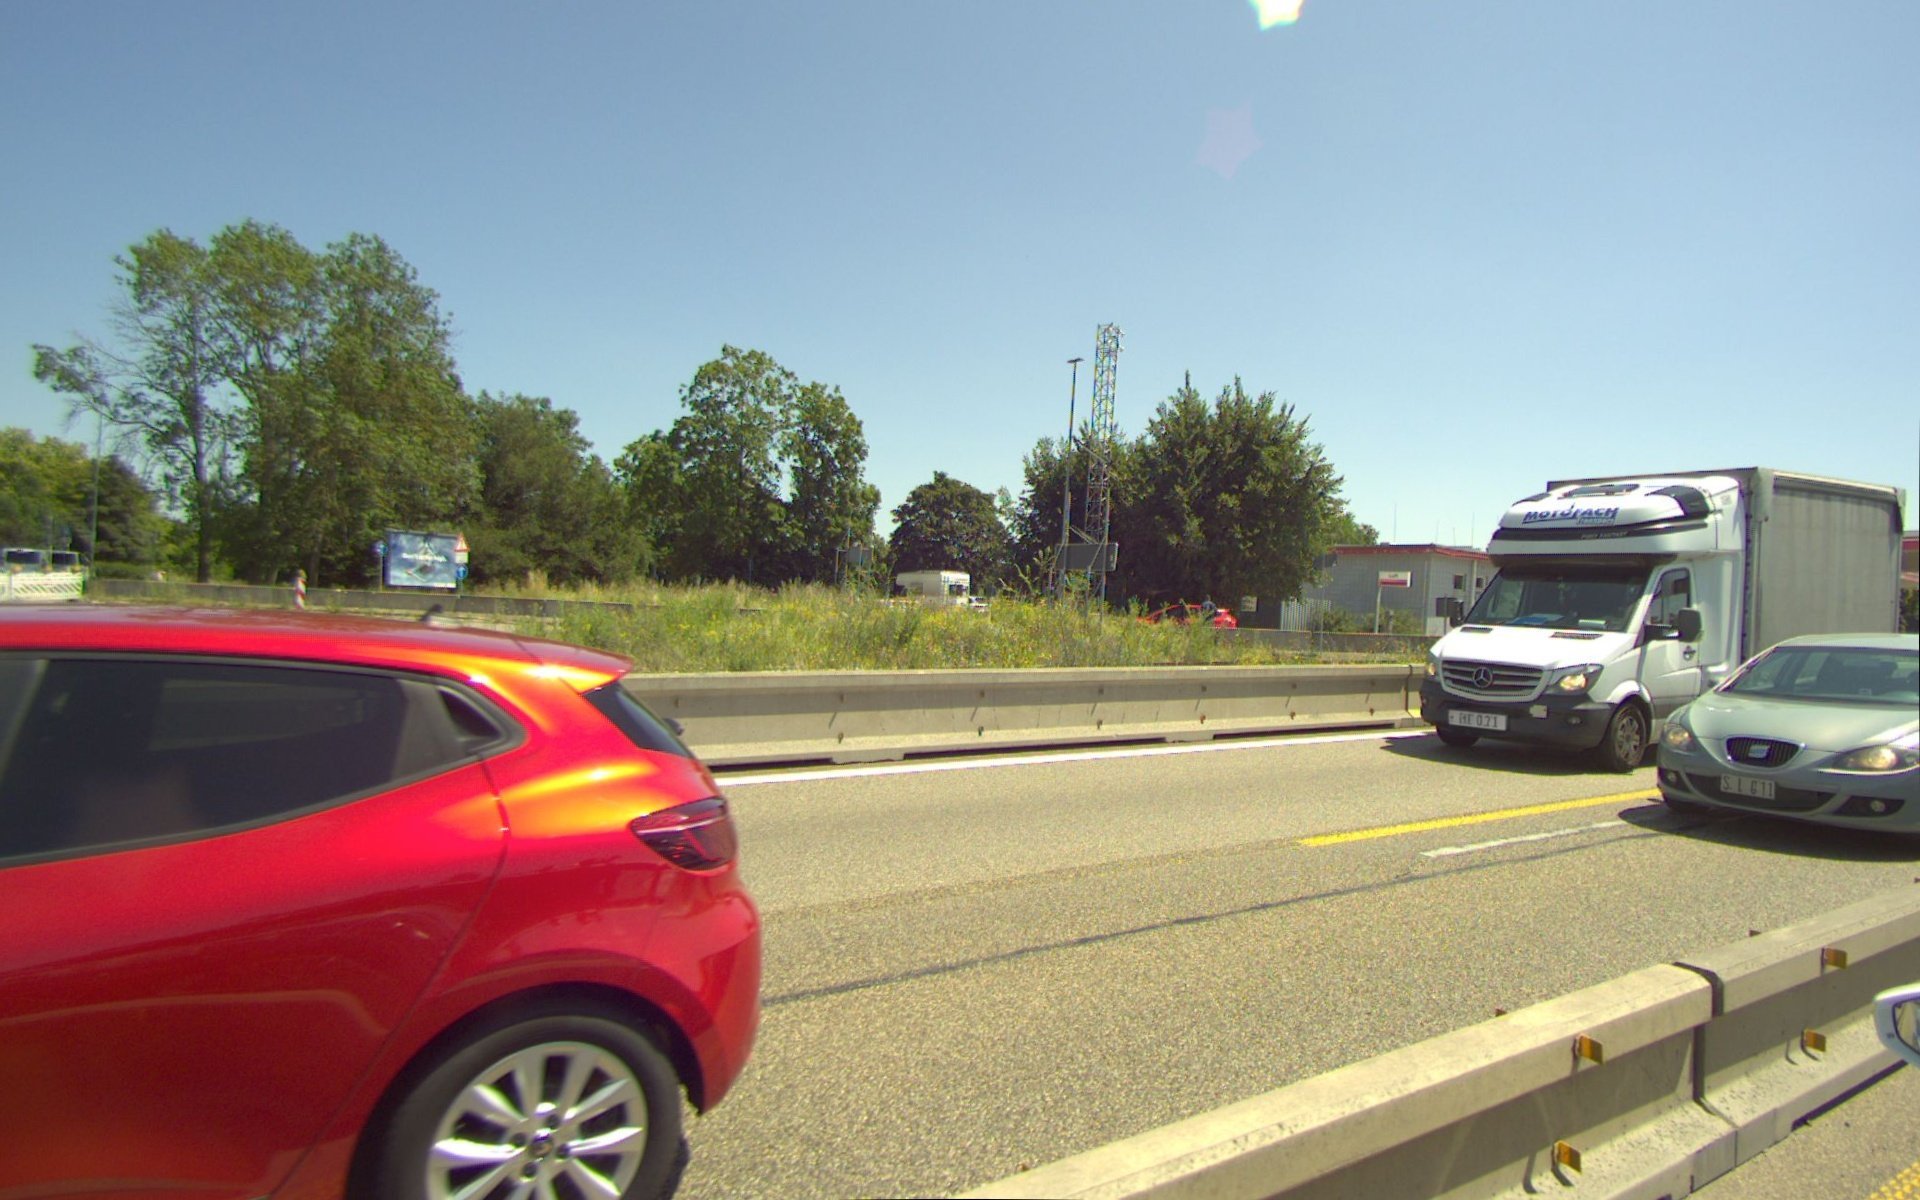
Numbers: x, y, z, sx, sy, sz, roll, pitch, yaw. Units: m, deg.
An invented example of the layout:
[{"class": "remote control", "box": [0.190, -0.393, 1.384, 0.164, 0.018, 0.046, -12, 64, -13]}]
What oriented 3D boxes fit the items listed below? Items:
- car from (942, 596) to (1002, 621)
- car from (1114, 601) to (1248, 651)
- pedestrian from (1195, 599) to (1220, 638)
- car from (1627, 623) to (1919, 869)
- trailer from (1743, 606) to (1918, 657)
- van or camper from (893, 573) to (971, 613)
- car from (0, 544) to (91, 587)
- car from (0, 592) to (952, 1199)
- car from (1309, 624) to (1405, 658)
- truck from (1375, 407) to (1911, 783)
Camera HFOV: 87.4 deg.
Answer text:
[{"class": "car", "box": [0.768, 0.524, 65.727, 1.980, 1.483, 3.960, 1, 1, -35]}, {"class": "car", "box": [7.361, 0.844, 33.649, 4.104, 1.350, 1.503, 3, 3, -1]}, {"class": "pedestrian", "box": [7.947, 0.592, 32.271, 0.576, 1.221, 0.474, 1, 0, -16]}, {"class": "car", "box": [7.177, 0.943, 7.861, 4.154, 1.448, 1.673, 1, 0, -31]}, {"class": "trailer", "box": [80.191, 2.906, 92.648, 13.892, 4.165, 3.159, 2, -1, -4]}, {"class": "van or camper", "box": [-1.824, -0.439, 63.678, 2.425, 2.430, 5.170, 1, 0, -36]}, {"class": "car", "box": [-46.336, -1.719, 50.986, 1.969, 2.041, 3.983, 1, 1, -18]}, {"class": "car", "box": [-2.133, 0.711, 2.237, 3.955, 1.453, 1.640, 1, 0, -31]}, {"class": "car", "box": [18.068, 1.844, 45.654, 4.263, 1.430, 1.743, 1, 1, -29]}, {"class": "truck", "box": [8.550, 0.011, 12.199, 7.627, 3.430, 2.377, 1, 1, -31]}]
